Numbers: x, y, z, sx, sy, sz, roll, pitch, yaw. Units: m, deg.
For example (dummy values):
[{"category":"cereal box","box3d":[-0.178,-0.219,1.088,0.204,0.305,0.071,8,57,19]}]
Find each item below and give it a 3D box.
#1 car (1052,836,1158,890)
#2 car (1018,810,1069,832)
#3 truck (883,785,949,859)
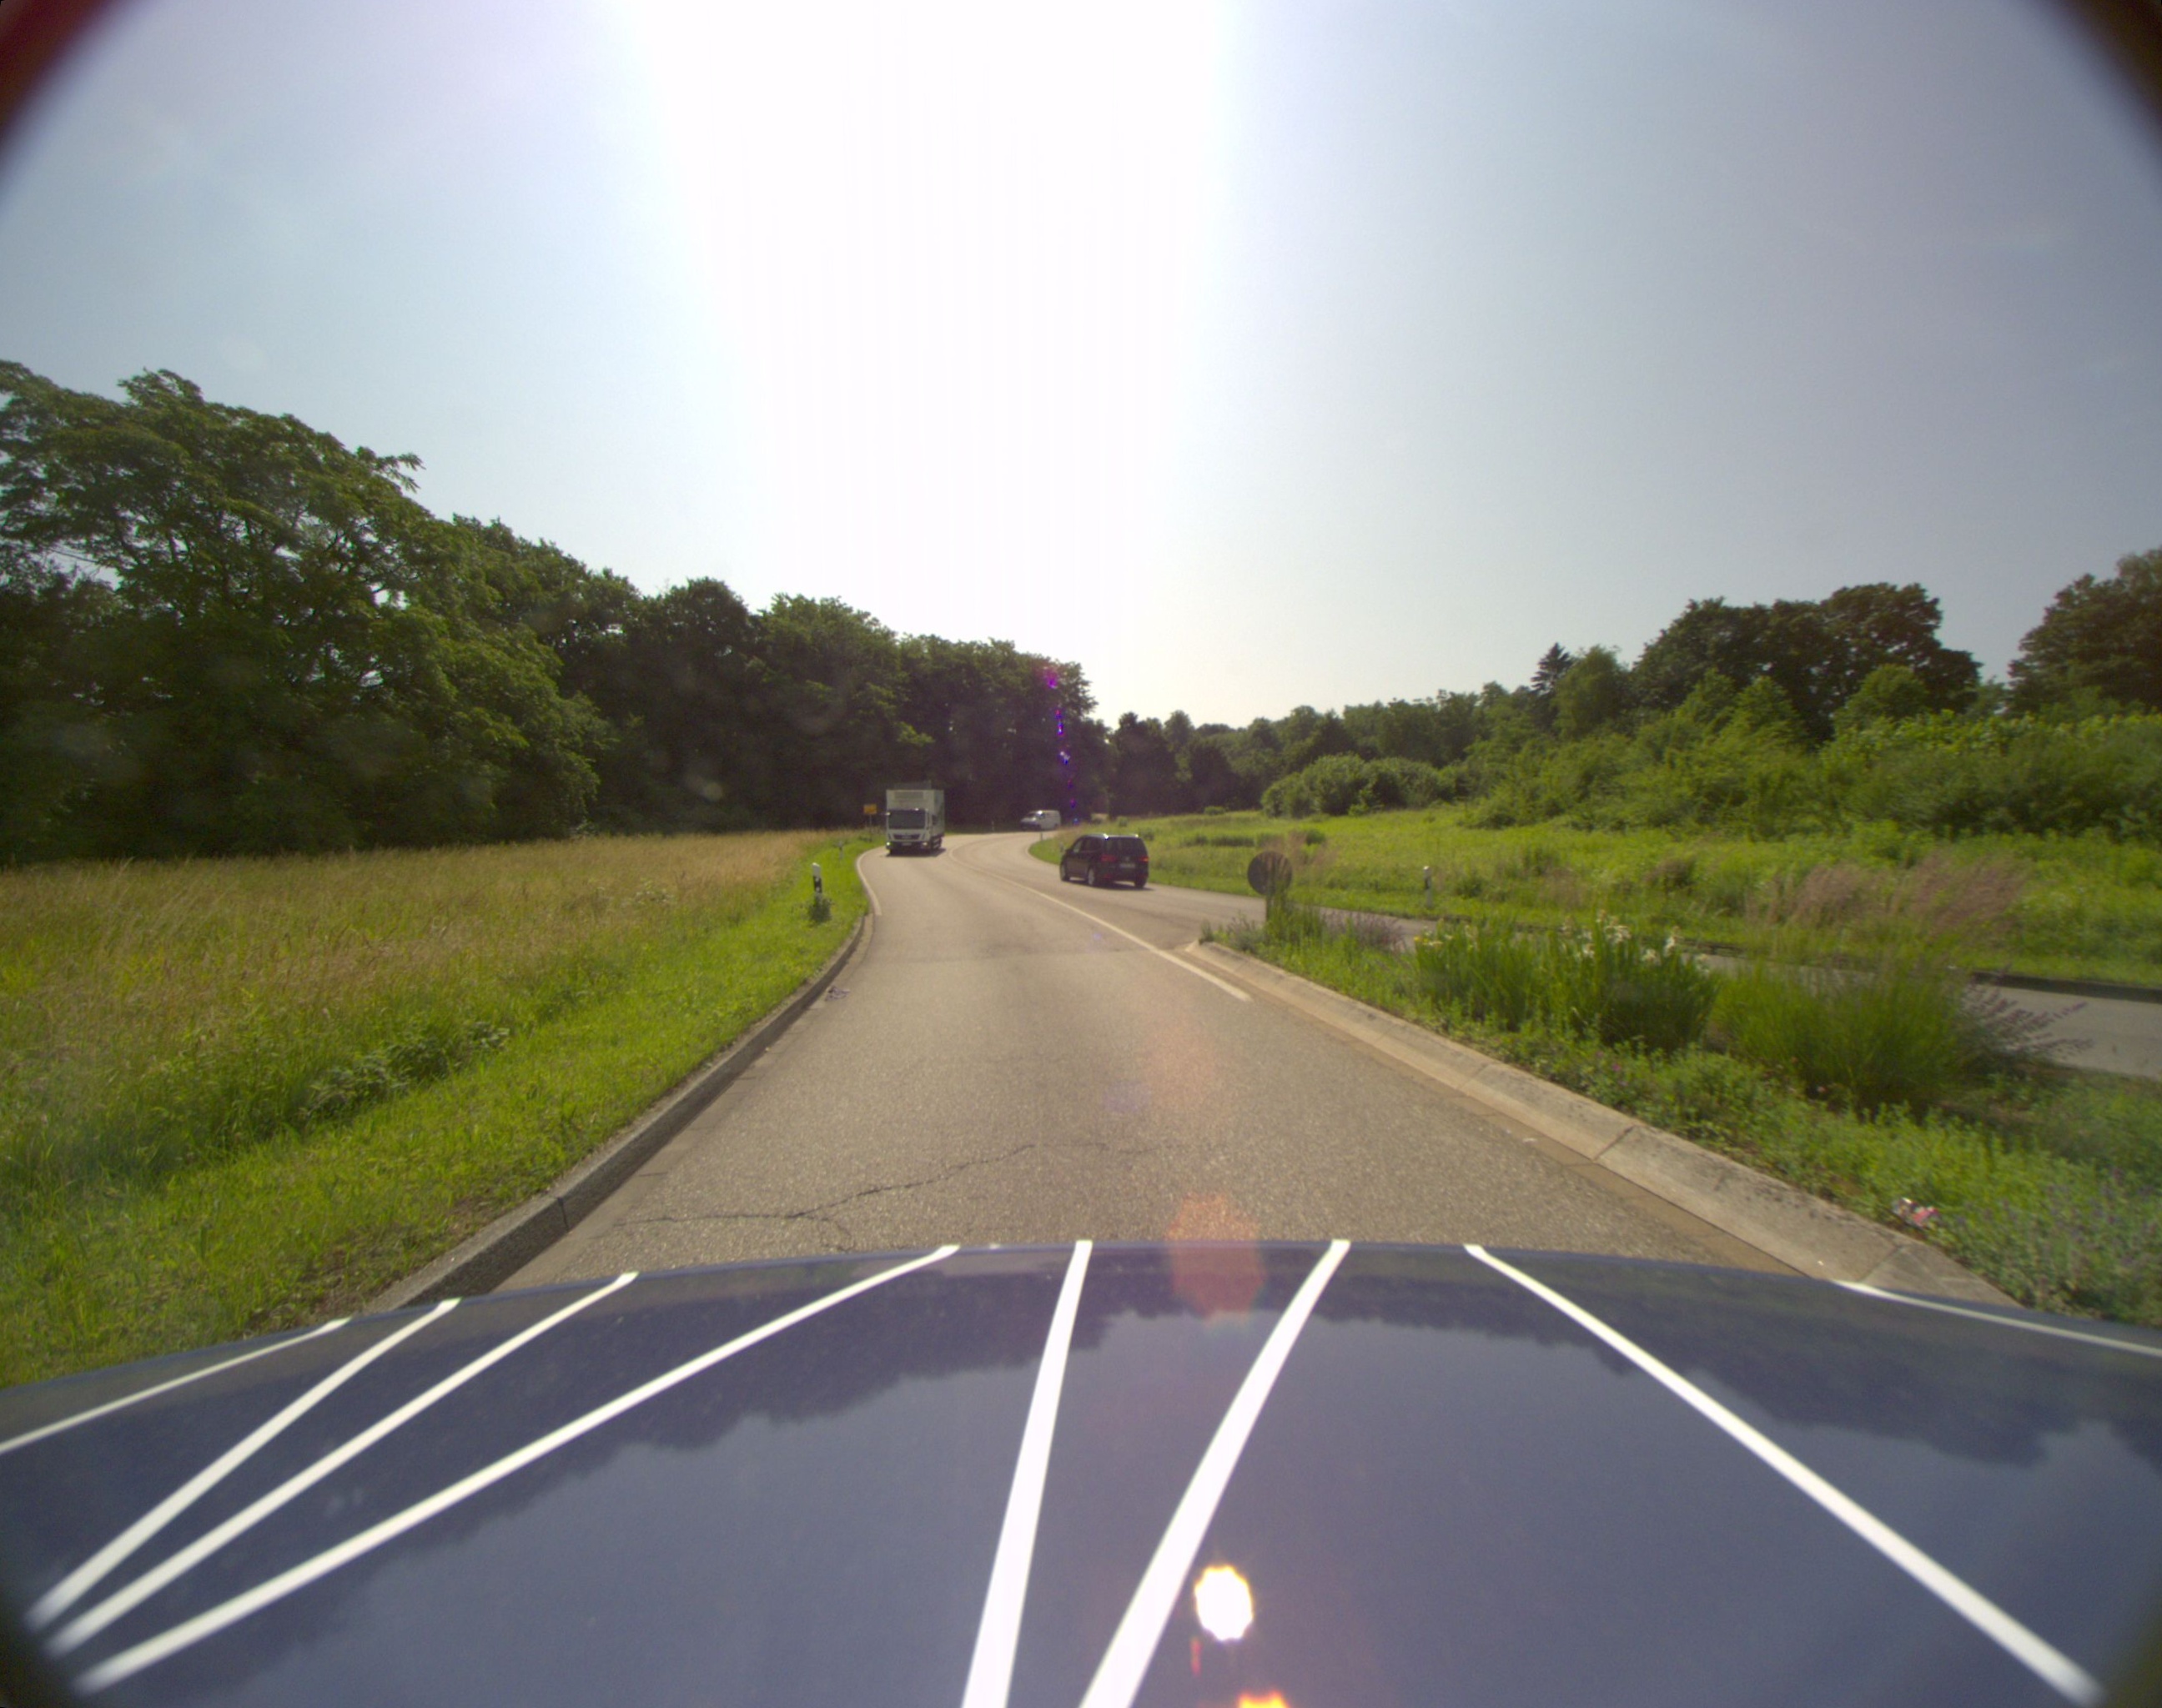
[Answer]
[{"category":"car","box3d":[0.645,0.246,24.674,1.915,1.586,4.365,0,1,-21]},{"category":"car","box3d":[-3.625,-3.308,74.890,1.994,2.002,5.612,-1,2,35]},{"category":"truck","box3d":[-9.514,-1.826,44.714,2.900,3.808,9.015,-2,2,-7]}]
